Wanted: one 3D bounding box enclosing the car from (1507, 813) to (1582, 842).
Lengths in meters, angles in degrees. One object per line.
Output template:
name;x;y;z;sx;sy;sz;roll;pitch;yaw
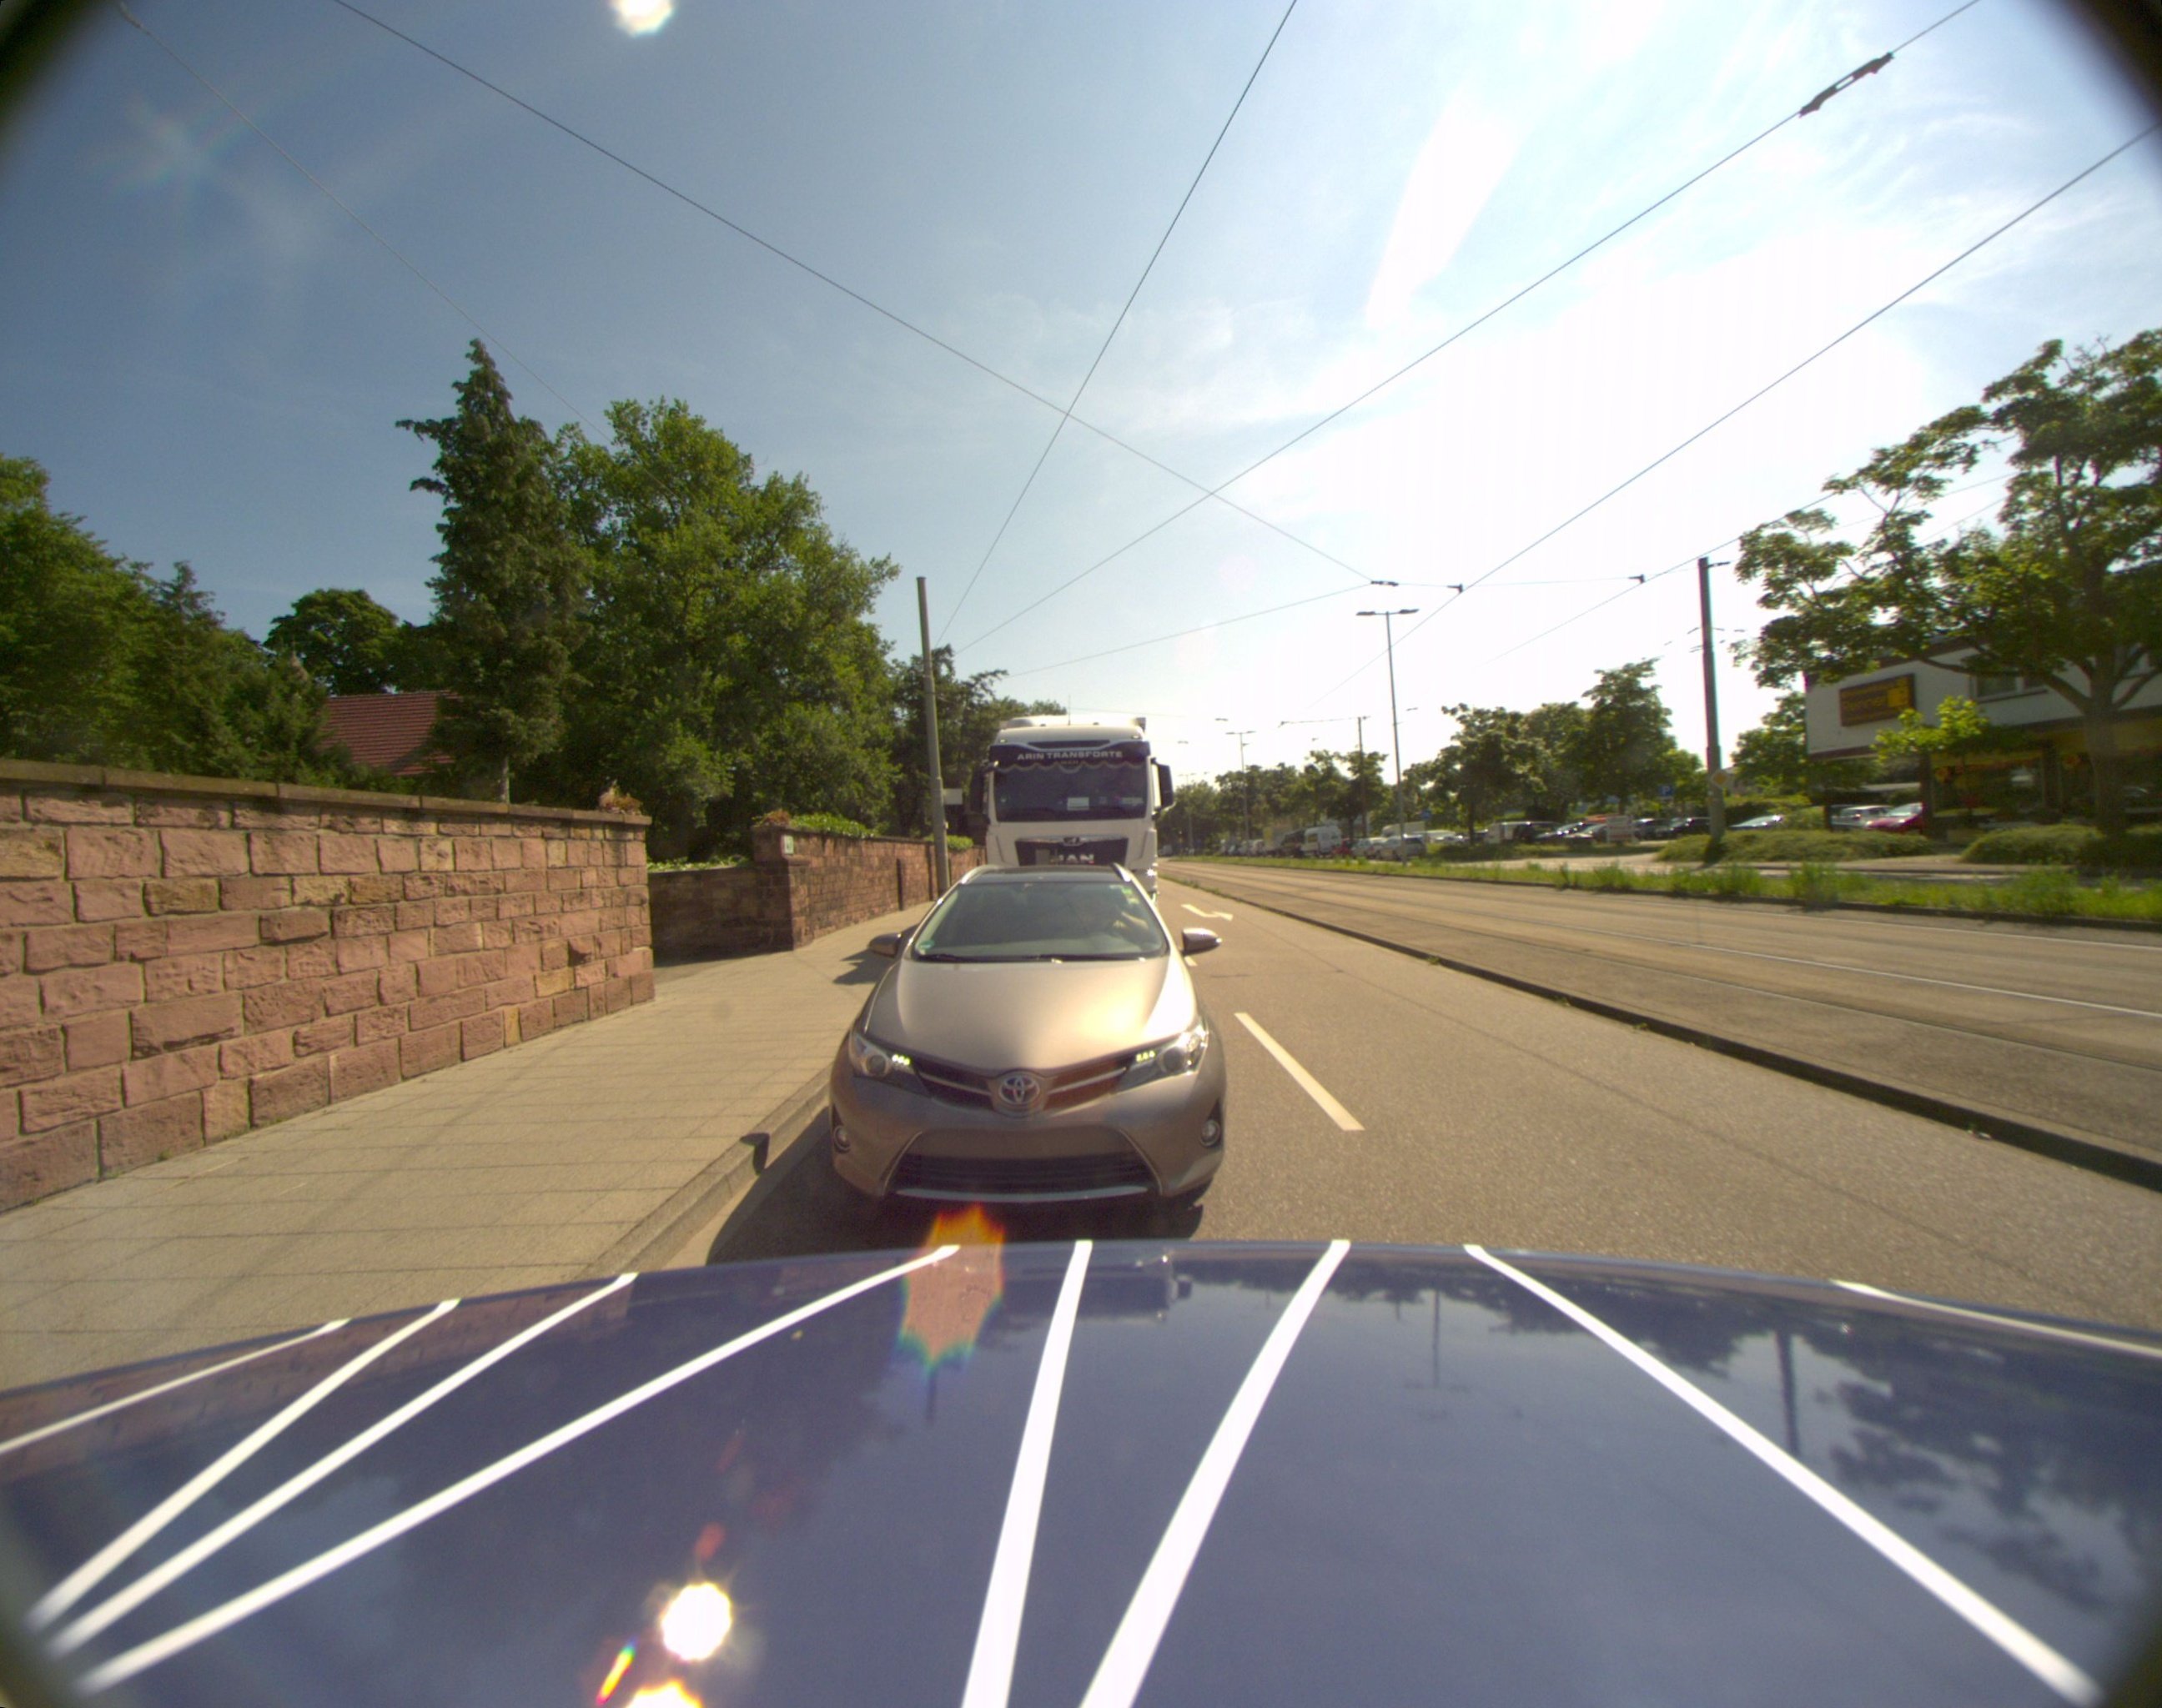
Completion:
car;30.580;-1.715;50.178;3.810;1.625;1.676;-3;1;2

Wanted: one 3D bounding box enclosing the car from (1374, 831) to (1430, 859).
car;20.263;-0.539;48.108;1.675;1.524;4.256;-6;0;1

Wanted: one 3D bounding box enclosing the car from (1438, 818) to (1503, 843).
car;31.233;-1.846;60.974;4.117;1.728;1.990;-3;1;-2

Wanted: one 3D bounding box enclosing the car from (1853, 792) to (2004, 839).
car;35.261;-1.581;31.678;4.252;1.595;1.676;-3;1;2

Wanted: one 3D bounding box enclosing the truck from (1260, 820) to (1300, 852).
truck;20.567;-1.846;78.838;2.508;2.917;5.903;-6;0;2

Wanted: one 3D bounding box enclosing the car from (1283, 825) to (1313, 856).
car;20.036;-1.197;70.277;1.502;2.609;4.007;-6;0;1

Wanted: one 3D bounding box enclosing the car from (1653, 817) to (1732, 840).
car;44.028;-1.835;54.758;4.252;1.327;1.676;-3;0;2

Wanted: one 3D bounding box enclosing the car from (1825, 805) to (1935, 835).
car;44.373;-1.883;42.260;4.252;1.327;1.676;-3;0;2

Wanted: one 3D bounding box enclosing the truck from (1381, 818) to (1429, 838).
truck;44.806;-3.575;105.173;5.652;2.367;1.990;-3;1;-2

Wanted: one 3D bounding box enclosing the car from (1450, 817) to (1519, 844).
car;30.589;-1.758;57.642;4.117;1.728;1.990;-3;1;-2

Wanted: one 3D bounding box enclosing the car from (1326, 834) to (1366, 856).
car;20.476;-0.675;58.752;1.675;1.524;3.793;-6;0;1

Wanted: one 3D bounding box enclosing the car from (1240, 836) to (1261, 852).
car;20.964;-1.205;94.216;1.502;1.835;4.059;-6;0;0

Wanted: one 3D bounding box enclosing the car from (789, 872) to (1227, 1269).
car;-0.263;0.894;4.947;1.654;1.374;4.000;-2;0;1

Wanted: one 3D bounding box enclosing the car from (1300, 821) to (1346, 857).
car;20.284;-1.224;63.987;2.062;2.638;5.203;-6;0;1

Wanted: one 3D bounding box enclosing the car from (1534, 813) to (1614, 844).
car;30.517;-1.545;47.113;3.810;1.625;1.676;-3;1;2

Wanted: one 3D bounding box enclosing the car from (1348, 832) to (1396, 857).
car;20.494;-0.631;53.654;1.675;1.524;4.256;-6;0;1

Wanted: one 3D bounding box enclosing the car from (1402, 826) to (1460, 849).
car;31.170;-1.399;67.876;2.594;1.800;5.741;-3;0;2

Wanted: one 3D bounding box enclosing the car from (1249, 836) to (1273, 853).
car;20.689;-1.052;87.369;1.502;1.793;4.633;-6;0;1

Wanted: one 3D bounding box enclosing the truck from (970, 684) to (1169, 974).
truck;-0.062;-0.390;15.104;2.628;3.906;9.285;-2;1;1

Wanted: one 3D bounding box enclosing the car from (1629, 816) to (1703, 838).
car;44.174;-2.025;57.441;4.252;1.327;1.676;-3;0;2

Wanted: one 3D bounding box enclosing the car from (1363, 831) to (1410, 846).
car;32.318;-1.592;80.393;4.253;1.327;1.676;-3;0;1

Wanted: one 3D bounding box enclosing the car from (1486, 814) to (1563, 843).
car;30.694;-1.769;52.665;4.117;1.728;1.990;-3;1;-2

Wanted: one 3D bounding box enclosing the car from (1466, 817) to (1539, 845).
car;30.535;-1.682;55.135;4.117;1.728;1.990;-3;1;-2

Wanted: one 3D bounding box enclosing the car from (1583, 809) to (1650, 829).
car;44.022;-2.847;62.510;4.254;1.327;1.676;-3;0;-1

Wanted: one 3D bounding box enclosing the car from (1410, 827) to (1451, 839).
car;43.740;-2.621;95.105;4.253;1.327;1.676;-3;0;1

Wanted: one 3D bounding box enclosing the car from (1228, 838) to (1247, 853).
car;20.626;-1.087;100.069;1.502;1.775;3.687;-6;0;0
